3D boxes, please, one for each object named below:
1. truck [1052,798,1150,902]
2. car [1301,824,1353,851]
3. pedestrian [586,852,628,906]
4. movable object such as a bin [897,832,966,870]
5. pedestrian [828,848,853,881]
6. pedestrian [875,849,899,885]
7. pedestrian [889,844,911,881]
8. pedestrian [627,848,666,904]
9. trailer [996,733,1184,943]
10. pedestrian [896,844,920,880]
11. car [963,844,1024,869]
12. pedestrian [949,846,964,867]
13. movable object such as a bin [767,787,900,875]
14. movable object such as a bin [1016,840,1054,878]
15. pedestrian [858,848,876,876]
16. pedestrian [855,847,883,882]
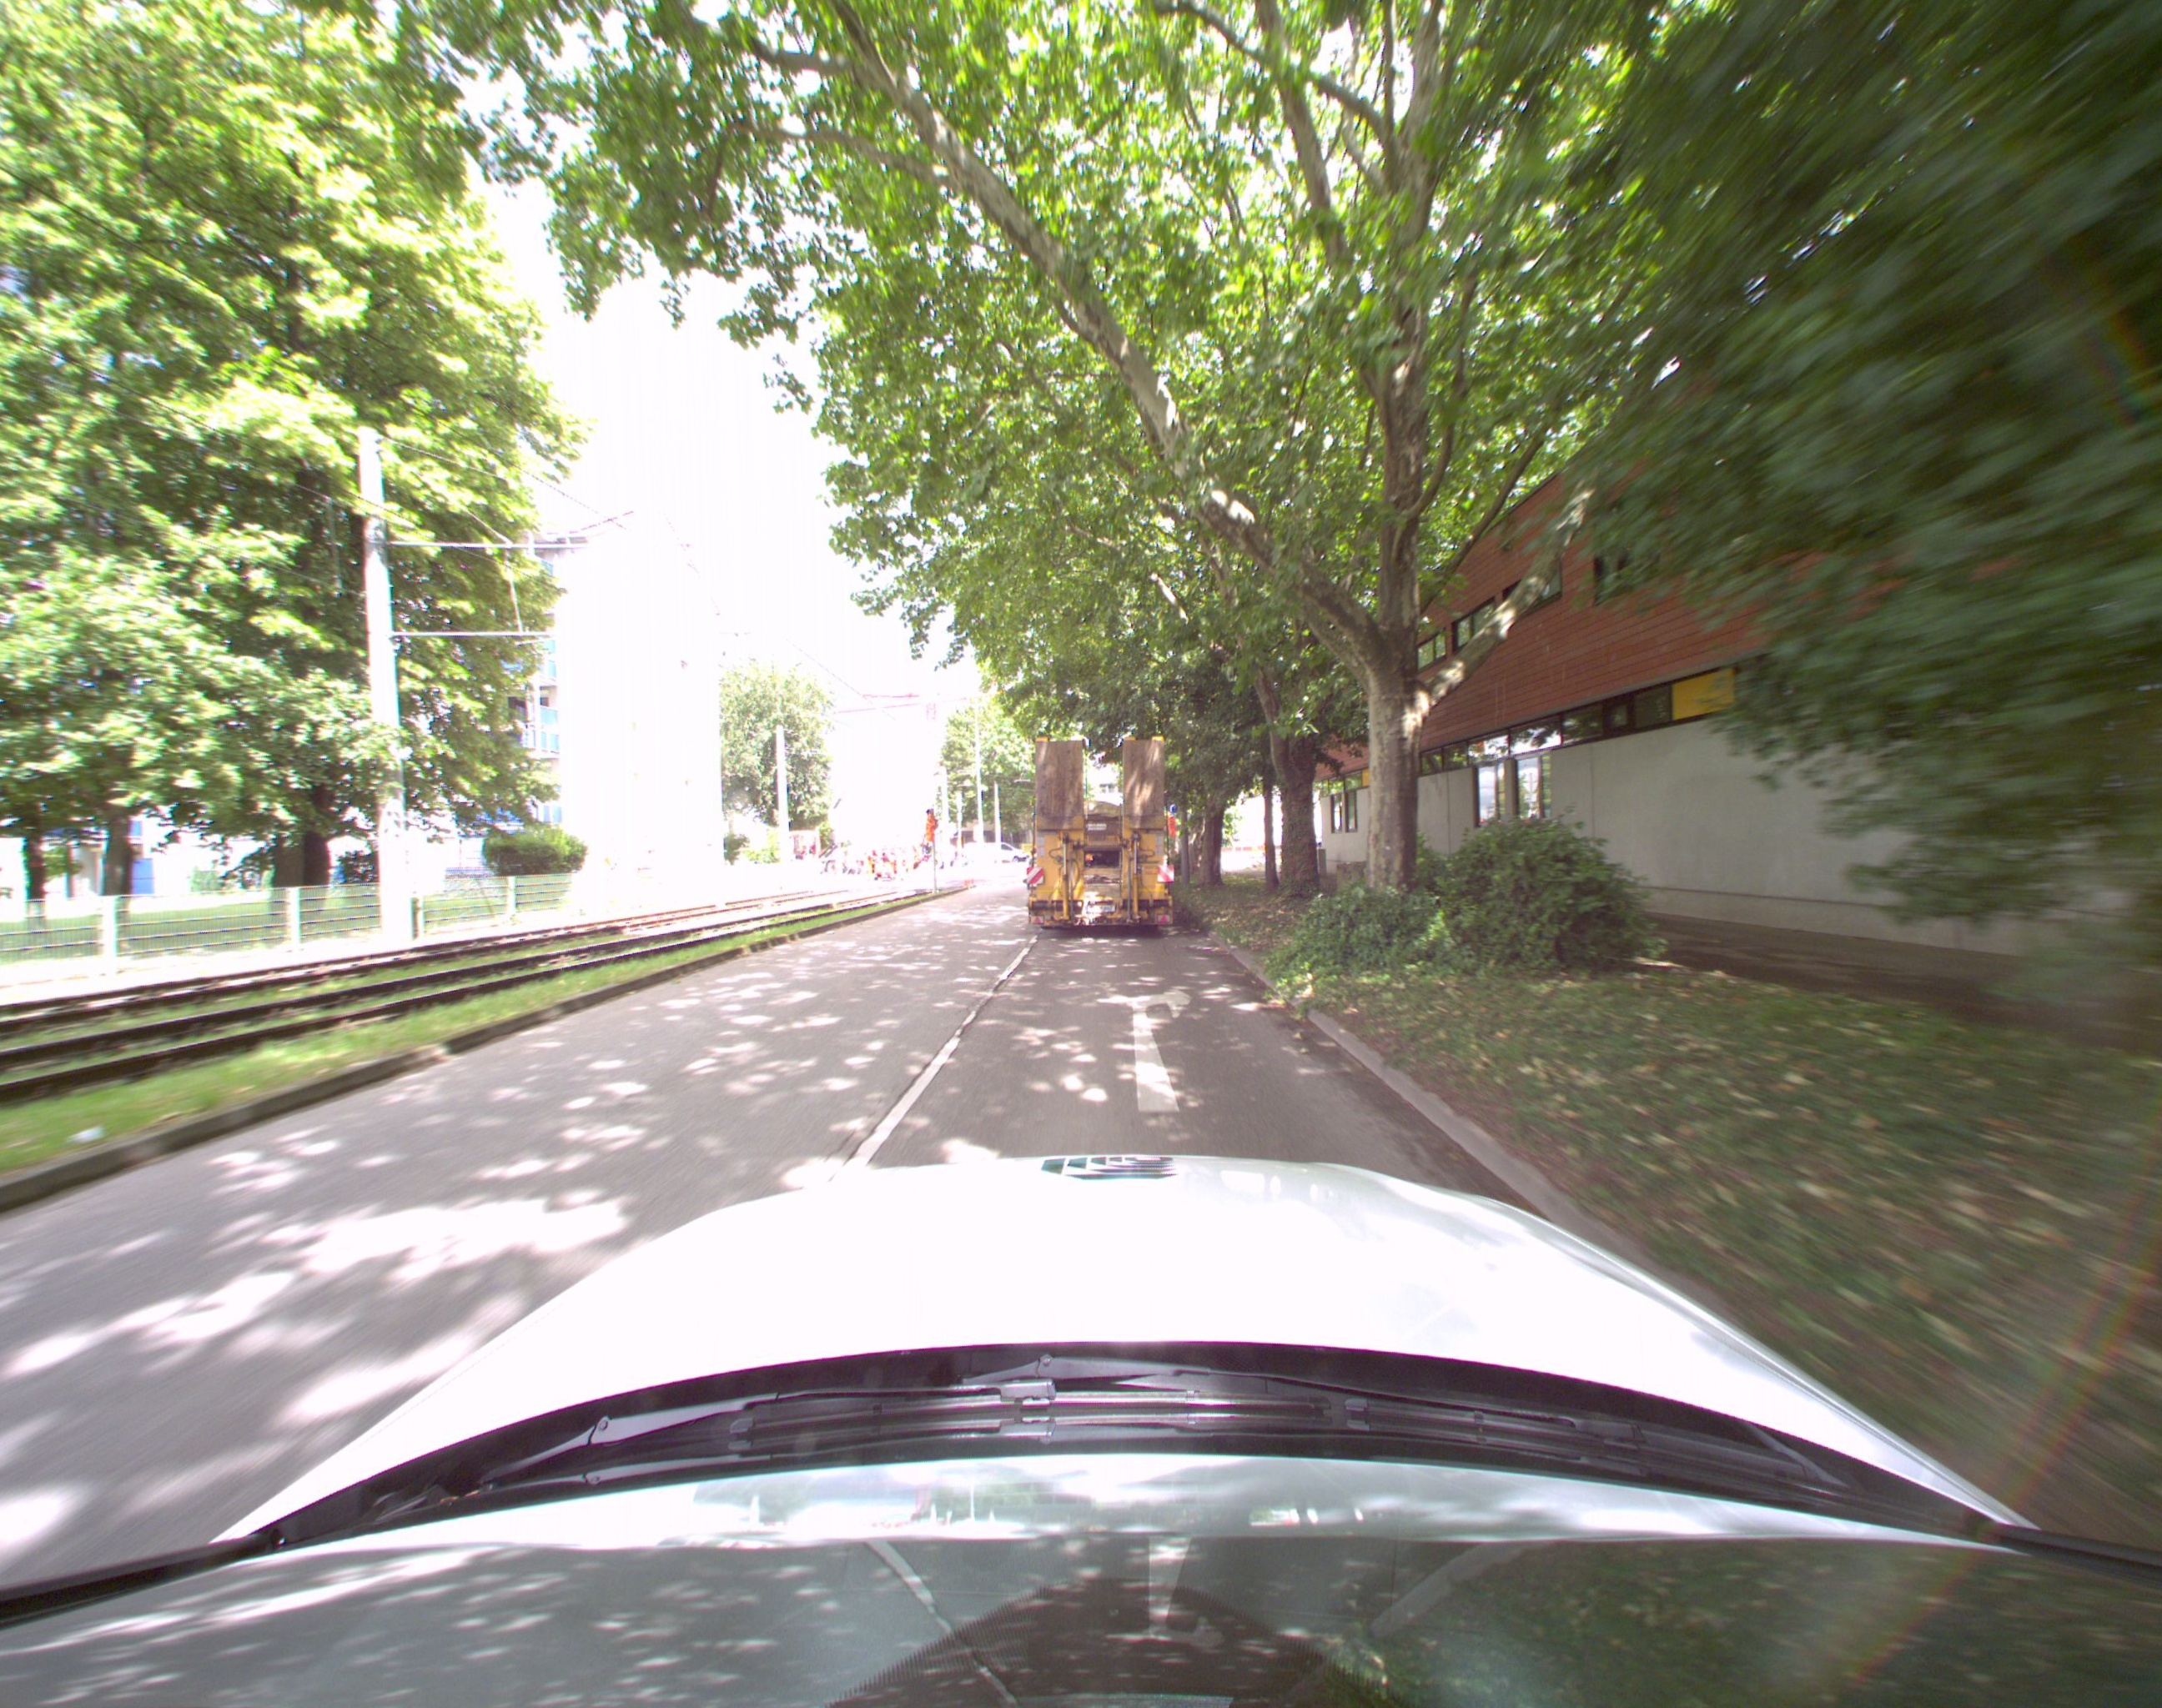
[{"bbox_3d":[0.735,-0.123,28.961,2.978,3.135,7.891,-1,0,2],"label":"truck"},{"bbox_3d":[22.877,-1.521,75.665,4.262,2.365,2.140,-1,0,-26],"label":"car"},{"bbox_3d":[-14.547,0.745,24.992,0.729,1.625,0.867,-1,0,1],"label":"pedestrian"},{"bbox_3d":[-10.698,-0.195,58.188,4.325,2.629,2.234,-1,0,28],"label":"movable object such as a bin"},{"bbox_3d":[-12.310,0.532,41.688,0.826,1.645,0.894,-1,0,33],"label":"pedestrian"},{"bbox_3d":[-9.496,0.626,39.887,0.879,1.760,0.840,-1,0,12],"label":"pedestrian"},{"bbox_3d":[-9.094,0.424,40.977,0.890,1.867,0.830,-1,0,-27],"label":"pedestrian"},{"bbox_3d":[-13.574,0.677,25.449,0.697,1.718,0.867,-1,0,1],"label":"pedestrian"},{"bbox_3d":[0.362,-0.266,19.464,3.142,3.552,11.102,-1,0,2],"label":"trailer"},{"bbox_3d":[-9.099,0.432,42.893,0.877,1.867,0.842,-1,0,30],"label":"pedestrian"},{"bbox_3d":[-7.592,0.224,70.497,5.094,2.102,1.968,-1,0,-13],"label":"car"},{"bbox_3d":[-8.586,0.172,56.077,0.913,1.409,0.752,-1,0,-1],"label":"pedestrian"},{"bbox_3d":[-16.528,-1.383,54.069,9.115,5.414,2.680,-1,0,28],"label":"movable object such as a bin"},{"bbox_3d":[-2.463,0.249,44.266,1.389,2.013,2.565,-1,0,12],"label":"movable object such as a bin"},{"bbox_3d":[-12.429,0.455,47.383,0.885,1.645,0.897,-1,0,-9],"label":"pedestrian"},{"bbox_3d":[-10.765,0.526,41.357,1.117,1.715,0.877,-1,0,-43],"label":"pedestrian"}]
